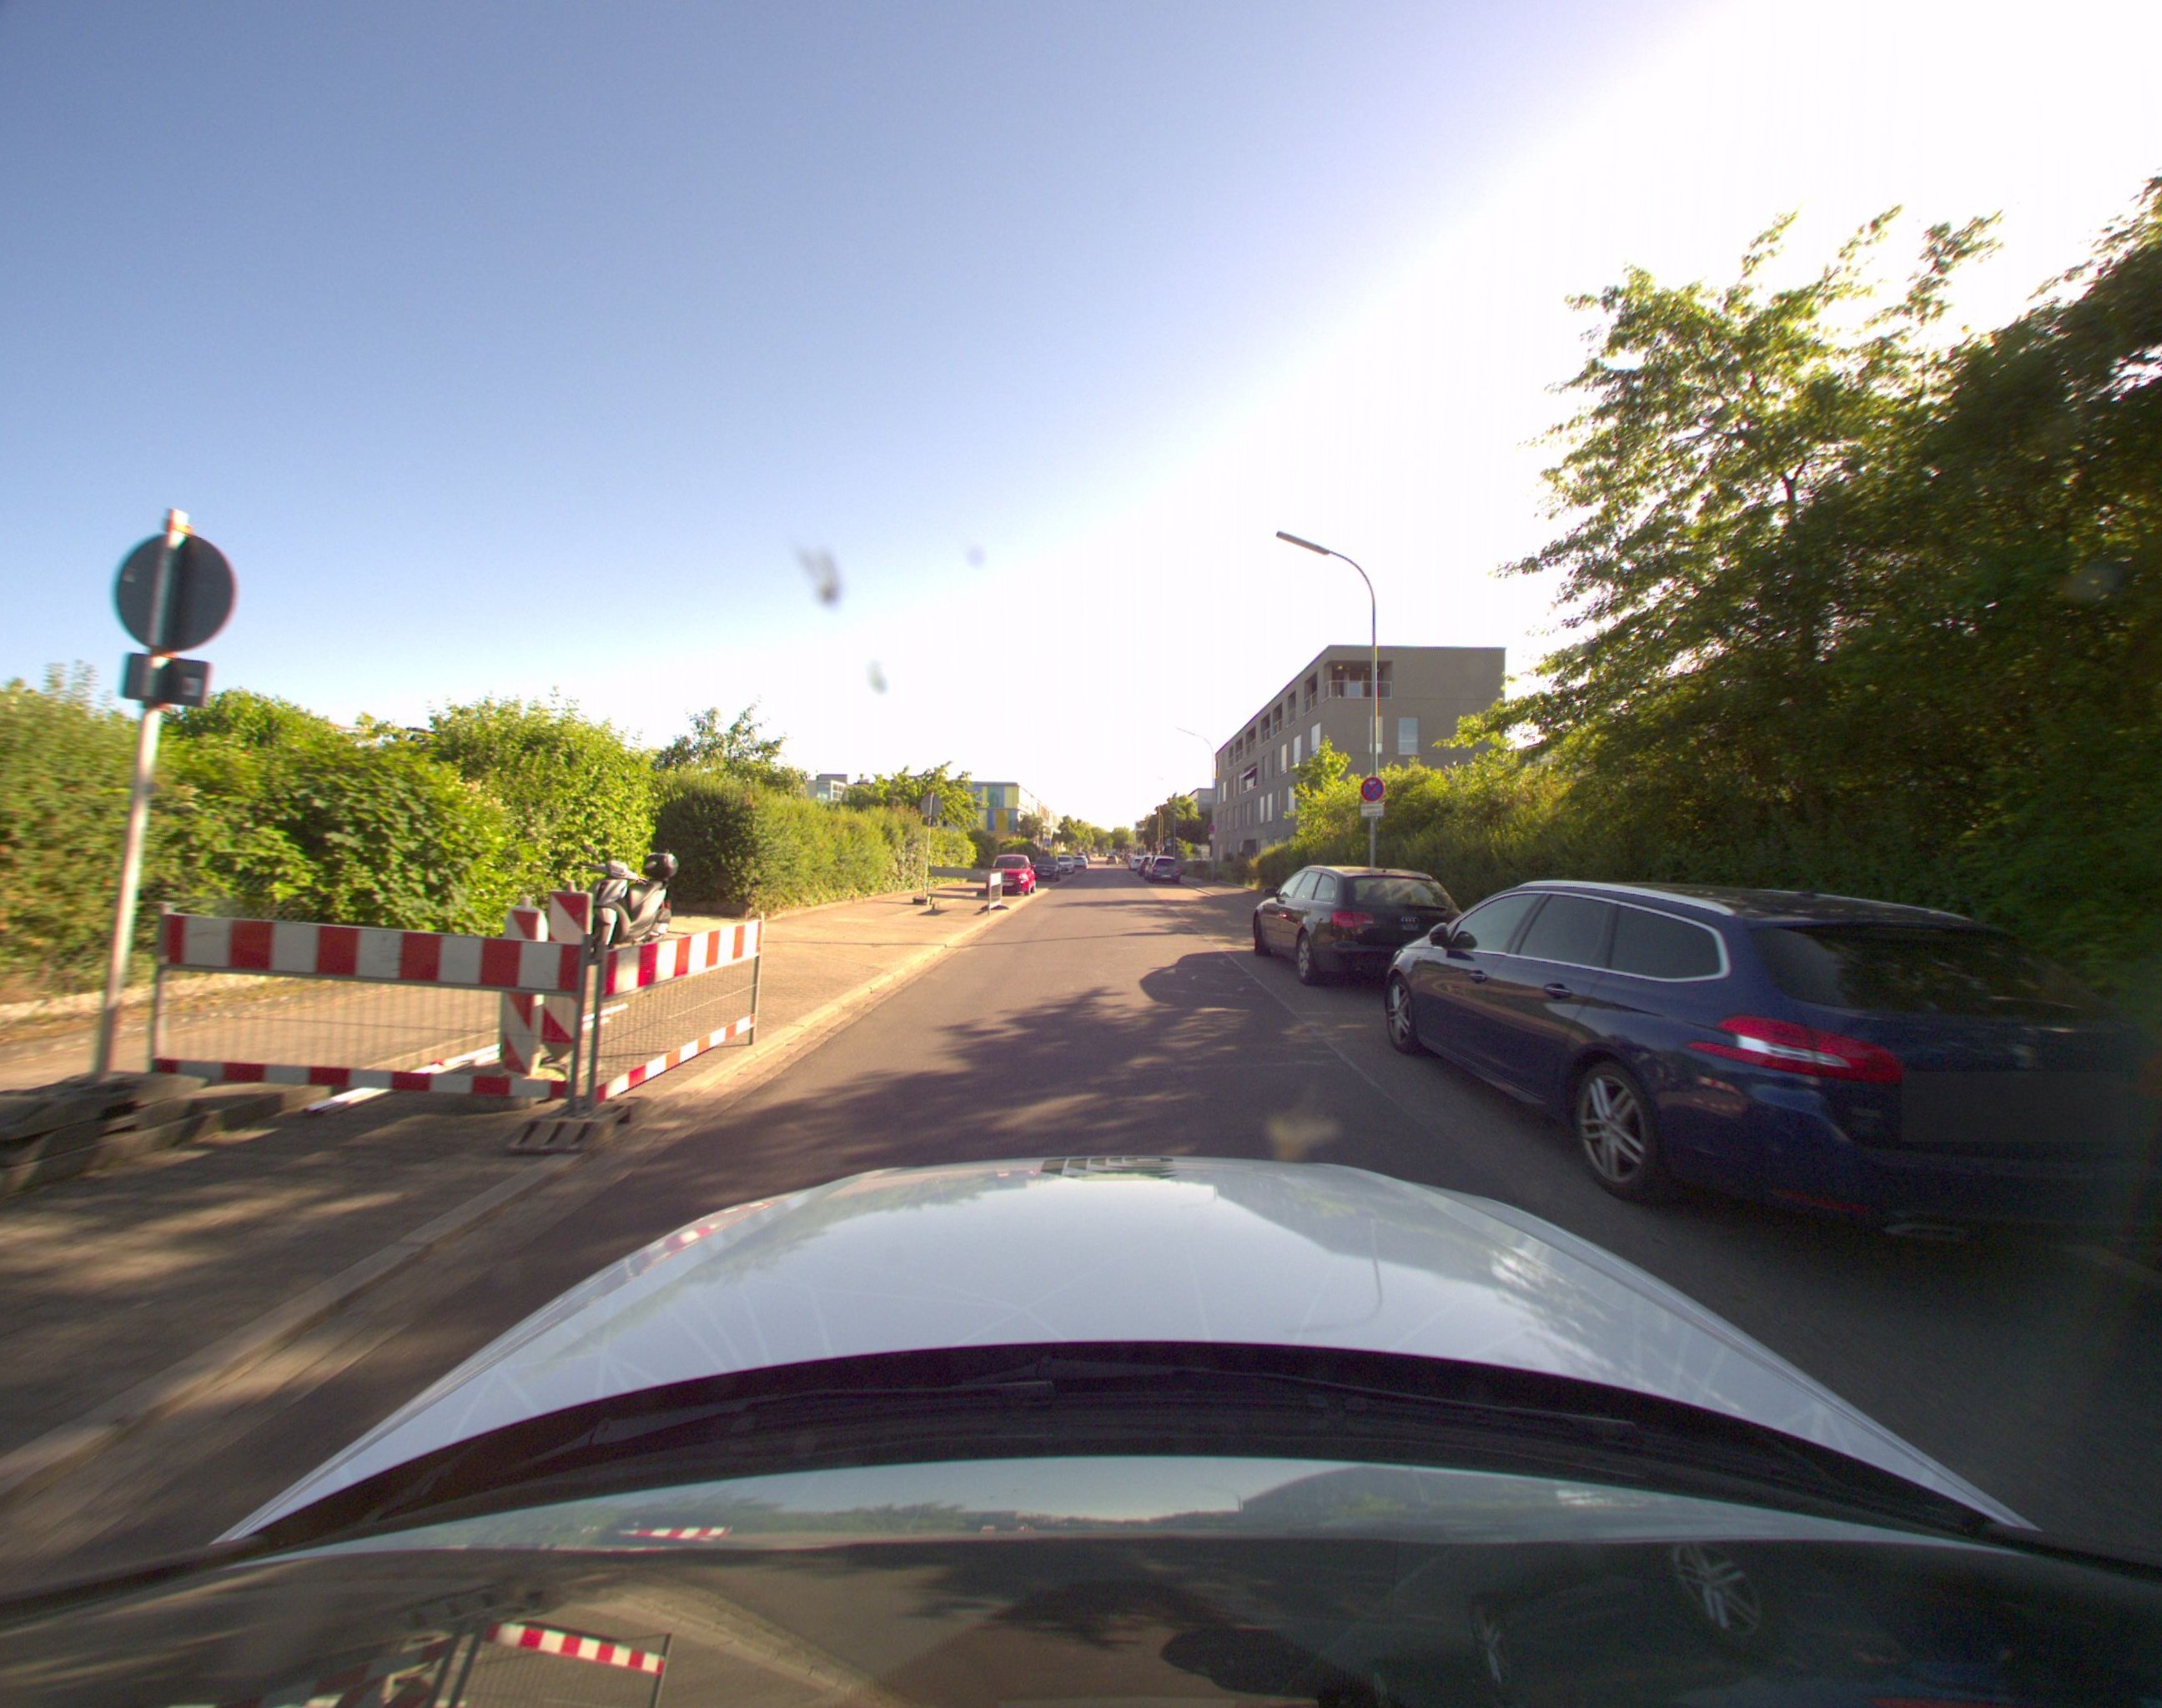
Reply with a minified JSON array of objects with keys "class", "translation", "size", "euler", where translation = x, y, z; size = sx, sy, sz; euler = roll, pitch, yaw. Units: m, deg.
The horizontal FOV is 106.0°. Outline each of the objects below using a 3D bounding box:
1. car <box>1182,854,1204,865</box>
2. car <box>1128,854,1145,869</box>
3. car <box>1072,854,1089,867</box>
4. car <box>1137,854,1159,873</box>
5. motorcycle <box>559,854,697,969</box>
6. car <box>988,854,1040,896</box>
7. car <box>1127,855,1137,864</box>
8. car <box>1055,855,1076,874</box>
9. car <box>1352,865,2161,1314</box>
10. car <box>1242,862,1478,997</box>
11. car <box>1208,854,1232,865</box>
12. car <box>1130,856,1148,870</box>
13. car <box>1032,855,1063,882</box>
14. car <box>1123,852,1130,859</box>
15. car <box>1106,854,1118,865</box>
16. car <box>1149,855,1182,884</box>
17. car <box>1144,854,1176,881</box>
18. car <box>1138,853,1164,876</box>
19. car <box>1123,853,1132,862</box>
[{"class":"car","translation":[17.268,0.869,125.227],"size":[3.201,1.549,1.451],"euler":[2,0,4]},{"class":"car","translation":[6.305,0.839,92.628],"size":[1.626,1.630,3.615],"euler":[2,0,1]},{"class":"car","translation":[-0.029,0.761,95.600],"size":[1.847,1.428,4.136],"euler":[2,0,2]},{"class":"car","translation":[5.885,0.837,71.670],"size":[1.651,1.551,3.852],"euler":[2,0,2]},{"class":"motorcycle","translation":[-5.562,0.655,10.162],"size":[0.565,1.268,2.089],"euler":[2,-1,-2]},{"class":"car","translation":[-2.511,0.758,31.086],"size":[1.554,1.495,3.572],"euler":[0,0,2]},{"class":"car","translation":[8.802,0.909,141.229],"size":[1.440,1.549,3.615],"euler":[2,0,1]},{"class":"car","translation":[-1.229,0.843,66.345],"size":[1.554,1.495,3.760],"euler":[0,0,2]},{"class":"car","translation":[3.296,0.861,5.178],"size":[1.649,1.445,4.657],"euler":[3,0,1]},{"class":"car","translation":[3.608,0.874,11.515],"size":[1.748,1.413,4.656],"euler":[3,0,1]},{"class":"car","translation":[19.954,0.802,117.000],"size":[3.201,1.460,1.451],"euler":[2,0,4]},{"class":"car","translation":[6.151,0.970,86.617],"size":[1.735,1.428,4.136],"euler":[2,0,2]},{"class":"car","translation":[-1.979,0.851,49.305],"size":[1.554,1.495,3.572],"euler":[3,0,2]},{"class":"car","translation":[10.174,0.255,182.642],"size":[1.440,1.549,3.615],"euler":[2,0,1]},{"class":"car","translation":[4.673,0.858,124.073],"size":[1.683,1.549,3.615],"euler":[2,0,1]},{"class":"car","translation":[4.844,0.884,47.098],"size":[1.616,1.526,3.904],"euler":[3,0,3]},{"class":"car","translation":[5.080,0.845,52.598],"size":[1.670,1.608,4.179],"euler":[3,0,1]},{"class":"car","translation":[5.347,0.778,62.681],"size":[1.735,1.625,4.180],"euler":[2,0,2]},{"class":"car","translation":[8.990,0.637,157.241],"size":[1.440,1.549,3.615],"euler":[2,0,1]}]
